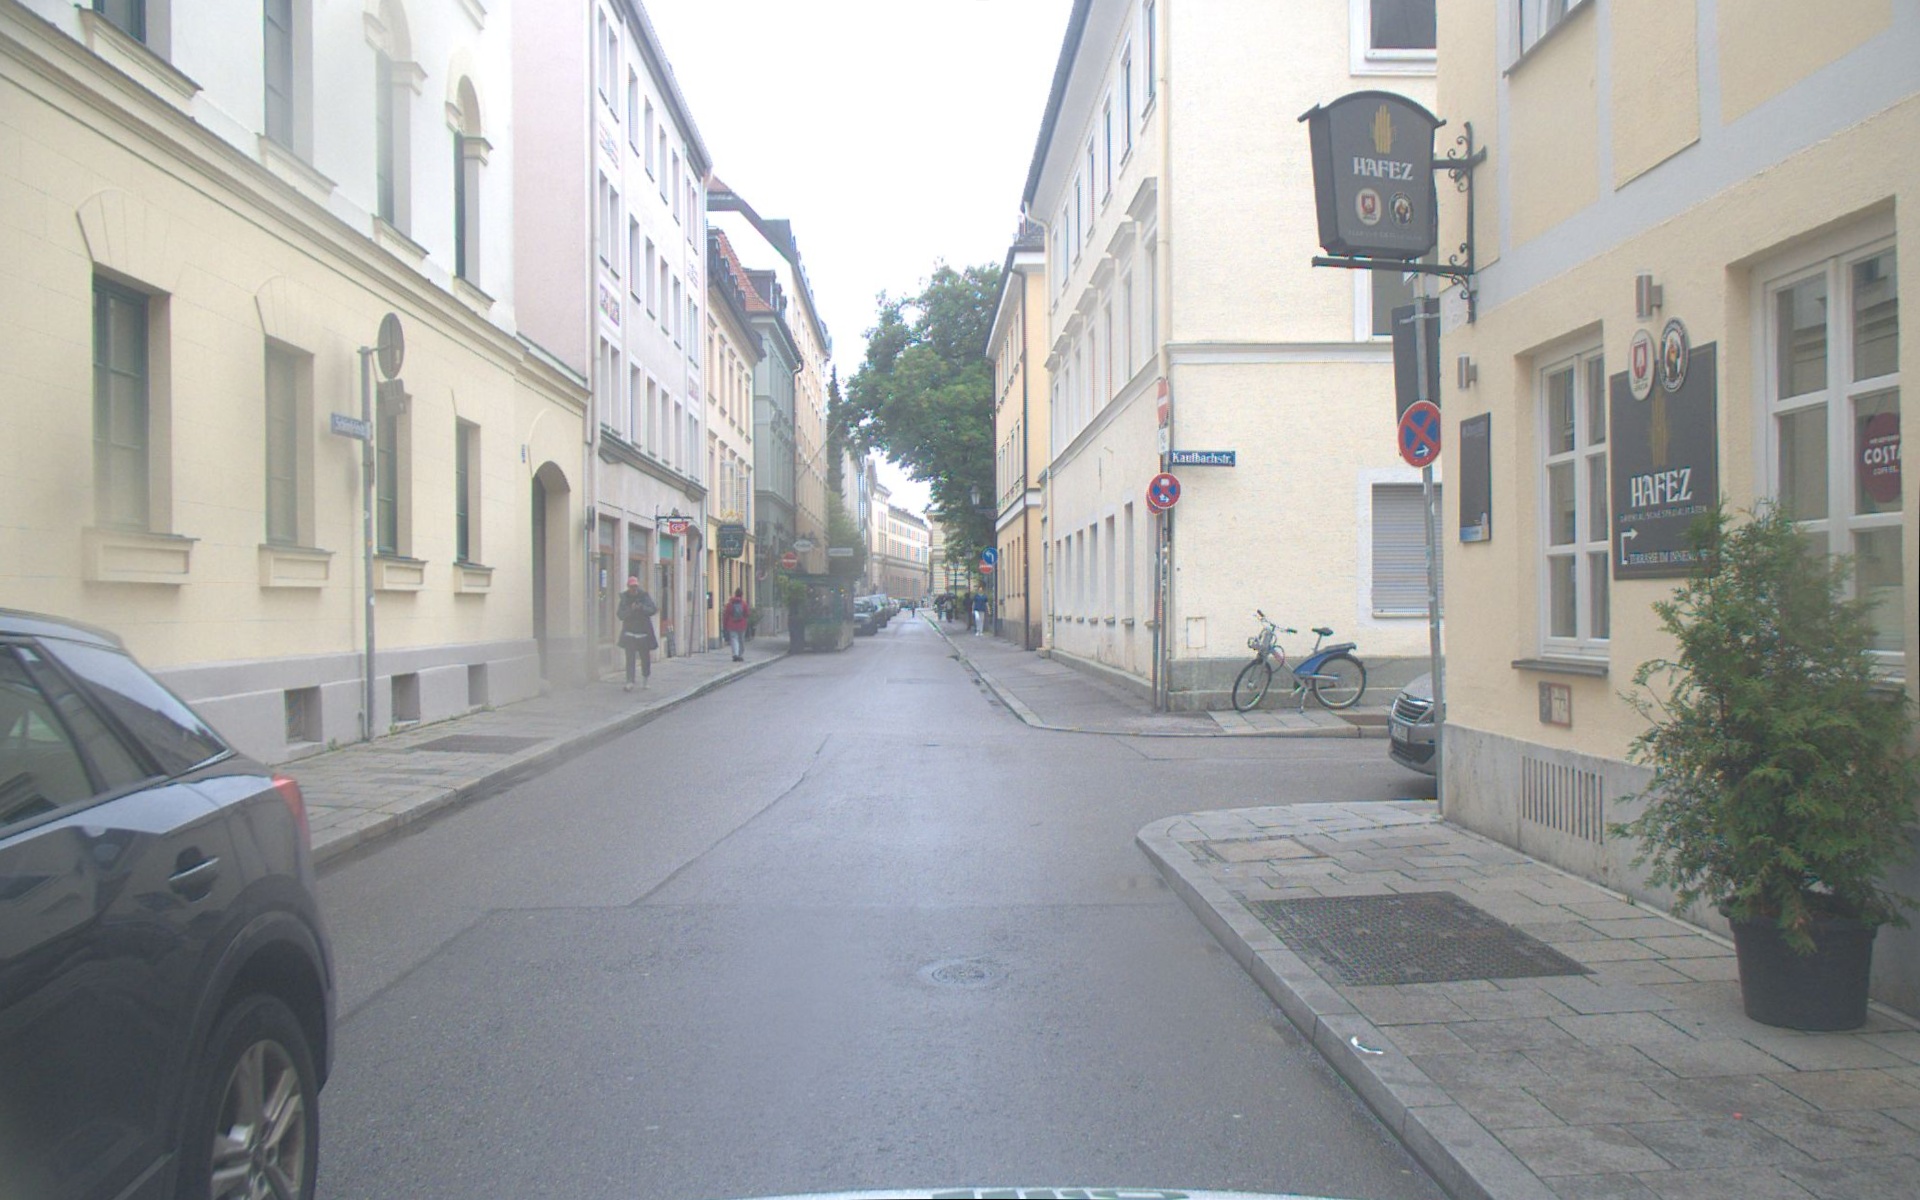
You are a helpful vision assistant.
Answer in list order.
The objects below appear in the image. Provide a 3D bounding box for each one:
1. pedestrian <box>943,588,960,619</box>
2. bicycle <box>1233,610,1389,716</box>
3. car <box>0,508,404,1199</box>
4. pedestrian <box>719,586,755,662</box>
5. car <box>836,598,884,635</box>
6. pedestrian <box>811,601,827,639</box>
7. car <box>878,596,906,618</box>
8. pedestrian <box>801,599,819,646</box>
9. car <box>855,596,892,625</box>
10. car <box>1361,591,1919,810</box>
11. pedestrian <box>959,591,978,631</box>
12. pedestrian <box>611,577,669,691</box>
[{"bbox_3d":[-0.505,0.224,100.523,0.995,1.833,1.349,0,0,-1],"label":"pedestrian"},{"bbox_3d":[4.150,0.738,19.606,1.722,1.164,0.586,-1,2,-2],"label":"bicycle"},{"bbox_3d":[-2.231,0.690,2.002,1.775,1.621,4.000,0,0,0],"label":"car"},{"bbox_3d":[-5.227,0.557,38.832,0.750,1.738,0.785,-1,0,-4],"label":"pedestrian"},{"bbox_3d":[-4.156,0.688,69.174,1.743,1.492,3.663,0,0,1],"label":"car"},{"bbox_3d":[-4.681,0.665,55.093,0.499,1.259,0.630,0,0,-4],"label":"pedestrian"},{"bbox_3d":[-4.867,0.495,118.569,1.743,1.492,3.542,0,0,1],"label":"car"},{"bbox_3d":[-4.329,0.645,47.698,0.499,1.350,0.630,0,0,-4],"label":"pedestrian"},{"bbox_3d":[-4.622,0.560,88.842,1.743,1.492,3.542,0,0,1],"label":"car"},{"bbox_3d":[5.213,0.704,12.493,3.933,1.466,1.765,0,2,0],"label":"car"},{"bbox_3d":[0.383,0.487,75.821,0.862,1.833,1.046,0,0,-1],"label":"pedestrian"},{"bbox_3d":[-5.129,0.527,26.523,0.793,1.786,0.989,0,1,-4],"label":"pedestrian"}]
